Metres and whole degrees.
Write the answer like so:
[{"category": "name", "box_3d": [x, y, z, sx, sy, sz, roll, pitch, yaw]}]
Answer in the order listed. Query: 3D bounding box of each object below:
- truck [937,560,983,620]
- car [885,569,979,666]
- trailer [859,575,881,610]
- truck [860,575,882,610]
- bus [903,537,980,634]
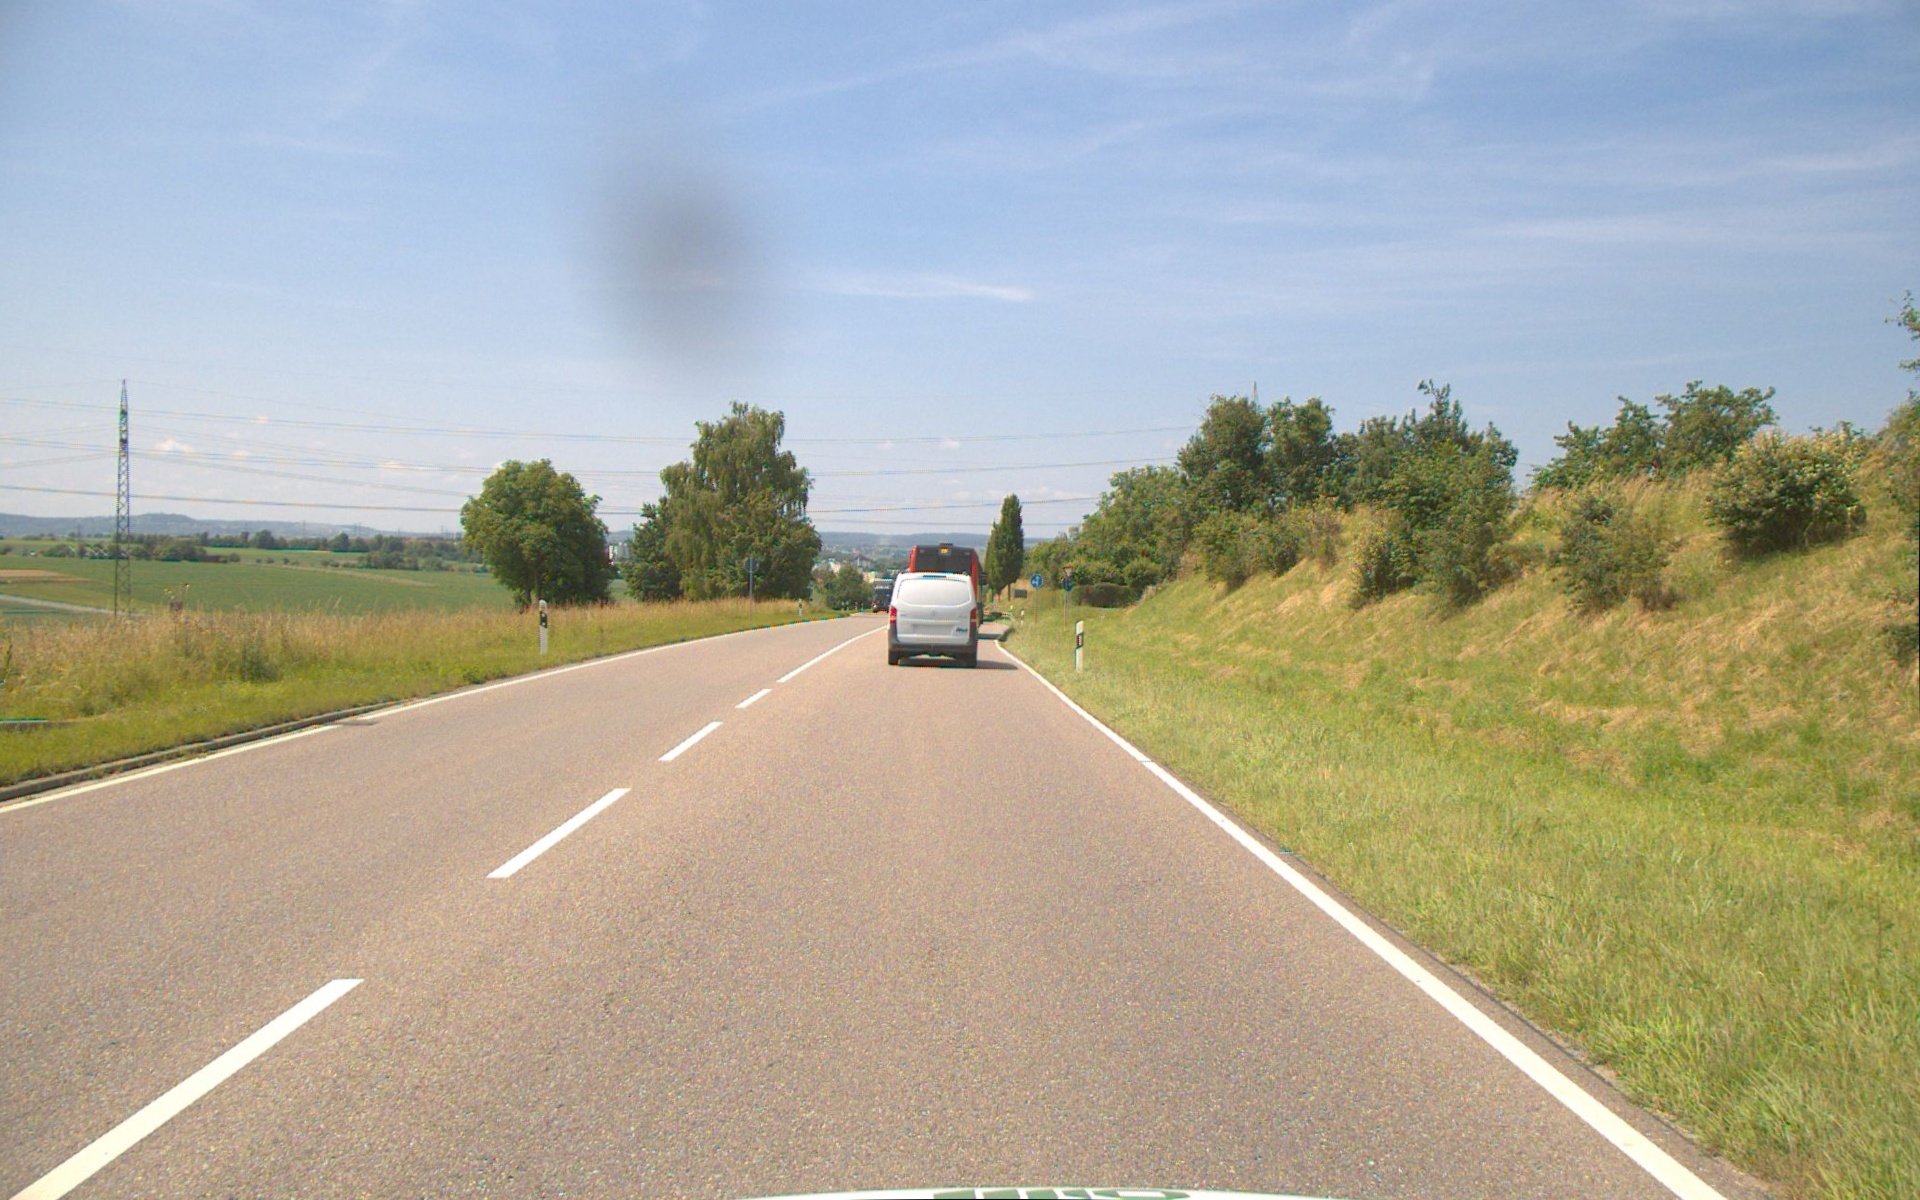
[{"category": "truck", "box_3d": [-0.097, -0.799, 131.715, 3.417, 4.501, 14.900, 0, 0, -1]}, {"category": "car", "box_3d": [-0.575, 0.341, 35.060, 1.884, 1.922, 4.000, 0, 0, -1]}, {"category": "trailer", "box_3d": [-11.608, -0.937, 212.925, 2.541, 4.215, 13.730, 2, 0, -4]}, {"category": "truck", "box_3d": [-11.115, -0.925, 205.942, 2.534, 4.176, 5.437, 2, 0, -4]}, {"category": "bus", "box_3d": [-0.612, -0.687, 65.356, 2.690, 3.411, 13.223, -1, 2, 0]}]
